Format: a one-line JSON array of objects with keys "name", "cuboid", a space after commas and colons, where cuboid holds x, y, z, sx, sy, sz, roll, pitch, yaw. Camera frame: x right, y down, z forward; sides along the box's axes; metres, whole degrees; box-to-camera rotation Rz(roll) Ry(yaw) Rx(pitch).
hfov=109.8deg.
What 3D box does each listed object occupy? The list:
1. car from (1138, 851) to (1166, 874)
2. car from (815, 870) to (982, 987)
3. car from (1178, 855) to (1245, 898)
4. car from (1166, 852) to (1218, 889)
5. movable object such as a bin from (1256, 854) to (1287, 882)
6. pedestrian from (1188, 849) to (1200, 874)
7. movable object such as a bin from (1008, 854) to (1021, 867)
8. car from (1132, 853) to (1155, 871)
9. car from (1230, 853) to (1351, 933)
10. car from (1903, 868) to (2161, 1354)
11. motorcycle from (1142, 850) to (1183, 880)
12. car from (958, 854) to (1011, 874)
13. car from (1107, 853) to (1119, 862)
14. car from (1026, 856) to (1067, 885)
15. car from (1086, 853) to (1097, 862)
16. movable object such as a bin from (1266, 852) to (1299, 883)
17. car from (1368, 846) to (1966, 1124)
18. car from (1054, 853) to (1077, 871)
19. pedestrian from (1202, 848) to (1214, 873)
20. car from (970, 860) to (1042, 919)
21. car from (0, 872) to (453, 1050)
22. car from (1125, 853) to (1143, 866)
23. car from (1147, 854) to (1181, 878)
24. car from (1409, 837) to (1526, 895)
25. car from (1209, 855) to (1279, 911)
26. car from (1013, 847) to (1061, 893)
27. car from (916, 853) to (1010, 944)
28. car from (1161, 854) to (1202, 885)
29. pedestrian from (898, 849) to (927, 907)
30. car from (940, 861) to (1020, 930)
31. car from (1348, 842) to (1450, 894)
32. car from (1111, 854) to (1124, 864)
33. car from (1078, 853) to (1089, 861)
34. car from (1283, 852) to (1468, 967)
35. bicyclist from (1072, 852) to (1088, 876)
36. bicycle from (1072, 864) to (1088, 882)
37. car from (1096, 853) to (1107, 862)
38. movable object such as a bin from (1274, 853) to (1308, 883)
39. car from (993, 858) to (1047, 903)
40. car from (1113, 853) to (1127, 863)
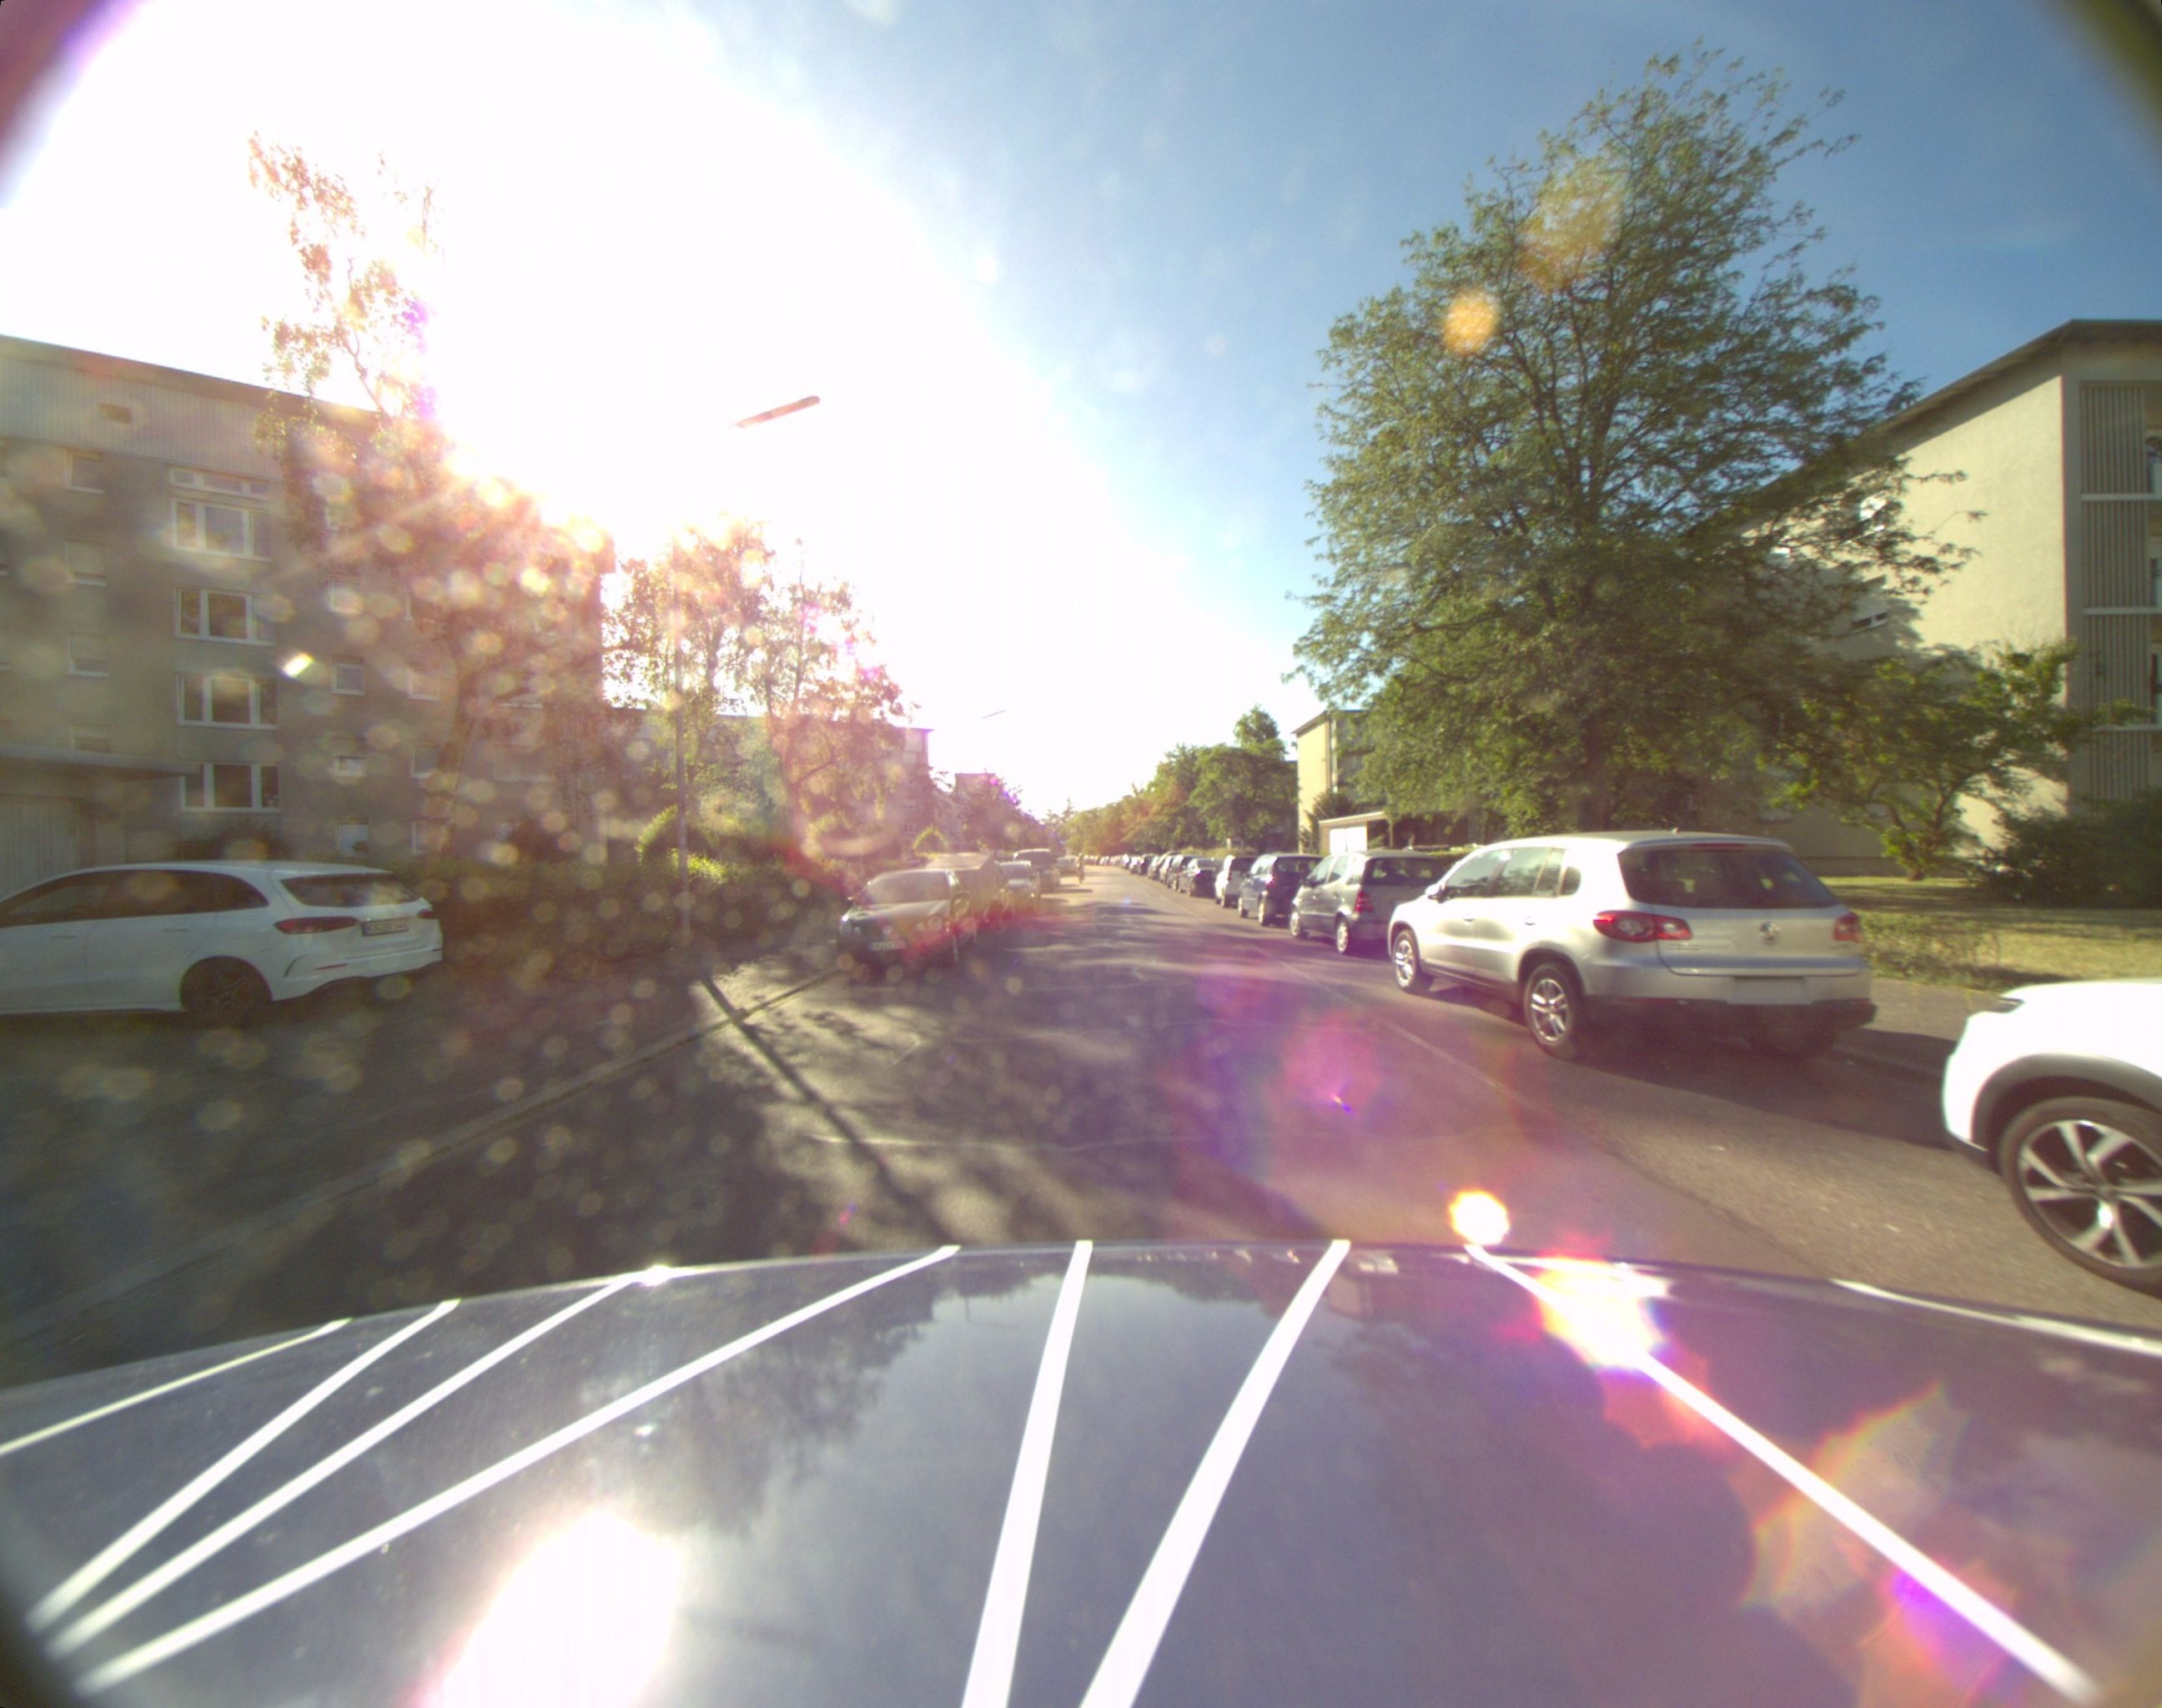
[{"name": "car", "cuboid": [5.343, 0.607, 57.831, 1.758, 1.626, 4.370, 1, 0, 1]}, {"name": "car", "cuboid": [-2.692, 1.035, 12.100, 1.736, 1.395, 3.894, -3, 0, -1]}, {"name": "car", "cuboid": [4.872, 0.785, 28.947, 1.759, 1.472, 4.537, 1, 0, 0]}, {"name": "car", "cuboid": [4.948, 0.718, 34.379, 1.759, 1.565, 3.720, 1, 0, 0]}, {"name": "movable object such as a bin", "cuboid": [9.309, 0.674, 37.207, 1.180, 1.280, 1.343, -2, 0, 2]}, {"name": "pedestrian", "cuboid": [7.654, 0.481, 51.440, 0.722, 1.669, 0.616, -2, 1, 1]}, {"name": "movable object such as a bin", "cuboid": [-7.322, 0.741, 83.357, 1.328, 1.423, 1.029, -2, 0, -5]}, {"name": "car", "cuboid": [5.253, 0.646, 64.513, 1.758, 1.417, 4.210, 1, 1, 3]}, {"name": "car", "cuboid": [4.645, 0.794, 17.419, 1.758, 1.597, 3.969, 1, 0, 2]}, {"name": "car", "cuboid": [4.181, 0.819, 1.155, 1.666, 1.504, 3.946, 0, 0, 2]}, {"name": "motorcycle", "cuboid": [4.728, 0.629, 44.127, 2.262, 1.717, 0.932, 1, 1, -2]}, {"name": "car", "cuboid": [-8.051, 0.845, 63.716, 4.193, 1.486, 1.817, -2, 0, -2]}, {"name": "car", "cuboid": [5.333, 0.651, 127.605, 1.658, 1.470, 3.104, 0, 0, -4]}, {"name": "car", "cuboid": [-1.875, 0.900, 42.718, 1.805, 1.410, 4.636, -2, 0, 3]}, {"name": "car", "cuboid": [1.870, 0.649, 134.487, 1.915, 1.468, 4.570, -1, 0, 1]}, {"name": "movable object such as a bin", "cuboid": [9.478, 0.609, 35.786, 1.180, 1.400, 1.343, -2, 0, 2]}, {"name": "car", "cuboid": [4.252, 0.767, 6.633, 1.908, 1.630, 4.349, 0, 0, 1]}, {"name": "car", "cuboid": [-1.396, 0.721, 70.534, 1.808, 1.486, 3.795, -2, 0, 2]}, {"name": "pedestrian", "cuboid": [8.593, 0.455, 51.390, 0.722, 1.669, 0.600, -2, 1, 1]}, {"name": "car", "cuboid": [-2.163, 0.980, 22.946, 1.736, 1.481, 4.500, -3, 0, -1]}, {"name": "car", "cuboid": [-9.043, 0.965, 7.583, 3.953, 1.505, 1.828, 0, 0, -2]}, {"name": "car", "cuboid": [5.971, 0.634, 85.697, 1.758, 1.377, 4.673, 0, 1, 0]}, {"name": "car", "cuboid": [5.253, 0.743, 48.450, 1.758, 1.412, 4.269, 1, 0, 1]}, {"name": "car", "cuboid": [12.122, 0.341, 24.116, 1.574, 1.631, 3.999, -2, 0, -1]}, {"name": "car", "cuboid": [4.879, 0.830, 23.086, 1.448, 1.565, 3.142, 1, 0, 0]}, {"name": "car", "cuboid": [-1.994, 0.681, 35.614, 1.857, 1.923, 4.704, -3, 0, 0]}, {"name": "car", "cuboid": [-2.431, 0.881, 16.185, 1.492, 1.708, 2.583, -3, 0, 1]}, {"name": "car", "cuboid": [5.143, 0.769, 39.387, 1.758, 1.472, 3.960, 1, 0, 3]}, {"name": "pedestrian", "cuboid": [-5.610, 0.774, 25.308, 0.705, 1.877, 0.872, 1, 1, 2]}, {"name": "car", "cuboid": [-2.482, 0.988, 19.171, 1.418, 1.514, 2.558, -3, 0, 5]}, {"name": "car", "cuboid": [10.289, 0.417, 24.872, 1.574, 1.516, 3.999, -2, 0, -1]}, {"name": "car", "cuboid": [5.776, 0.789, 120.682, 1.635, 1.470, 3.878, 0, 0, -4]}, {"name": "car", "cuboid": [0.470, 0.617, 162.965, 1.659, 1.558, 3.687, 0, 0, -10]}, {"name": "car", "cuboid": [4.578, 0.770, 12.358, 1.640, 1.597, 3.534, 0, 0, 0]}, {"name": "bicyclist", "cuboid": [-0.047, 0.557, 43.069, 0.812, 1.348, 1.091, -2, 0, 2]}, {"name": "bicycle", "cuboid": [-0.031, 1.071, 43.253, 0.824, 0.896, 2.203, -2, 0, 2]}, {"name": "car", "cuboid": [3.787, 0.560, 140.093, 1.658, 1.621, 4.070, 0, 0, -5]}, {"name": "movable object such as a bin", "cuboid": [9.486, 0.620, 34.418, 1.180, 1.332, 1.343, -2, 0, 2]}, {"name": "car", "cuboid": [-2.226, 0.934, 28.606, 1.627, 1.481, 4.036, -3, 0, 0]}, {"name": "car", "cuboid": [5.976, 0.561, 115.475, 1.811, 1.470, 3.940, 0, 0, -2]}]
